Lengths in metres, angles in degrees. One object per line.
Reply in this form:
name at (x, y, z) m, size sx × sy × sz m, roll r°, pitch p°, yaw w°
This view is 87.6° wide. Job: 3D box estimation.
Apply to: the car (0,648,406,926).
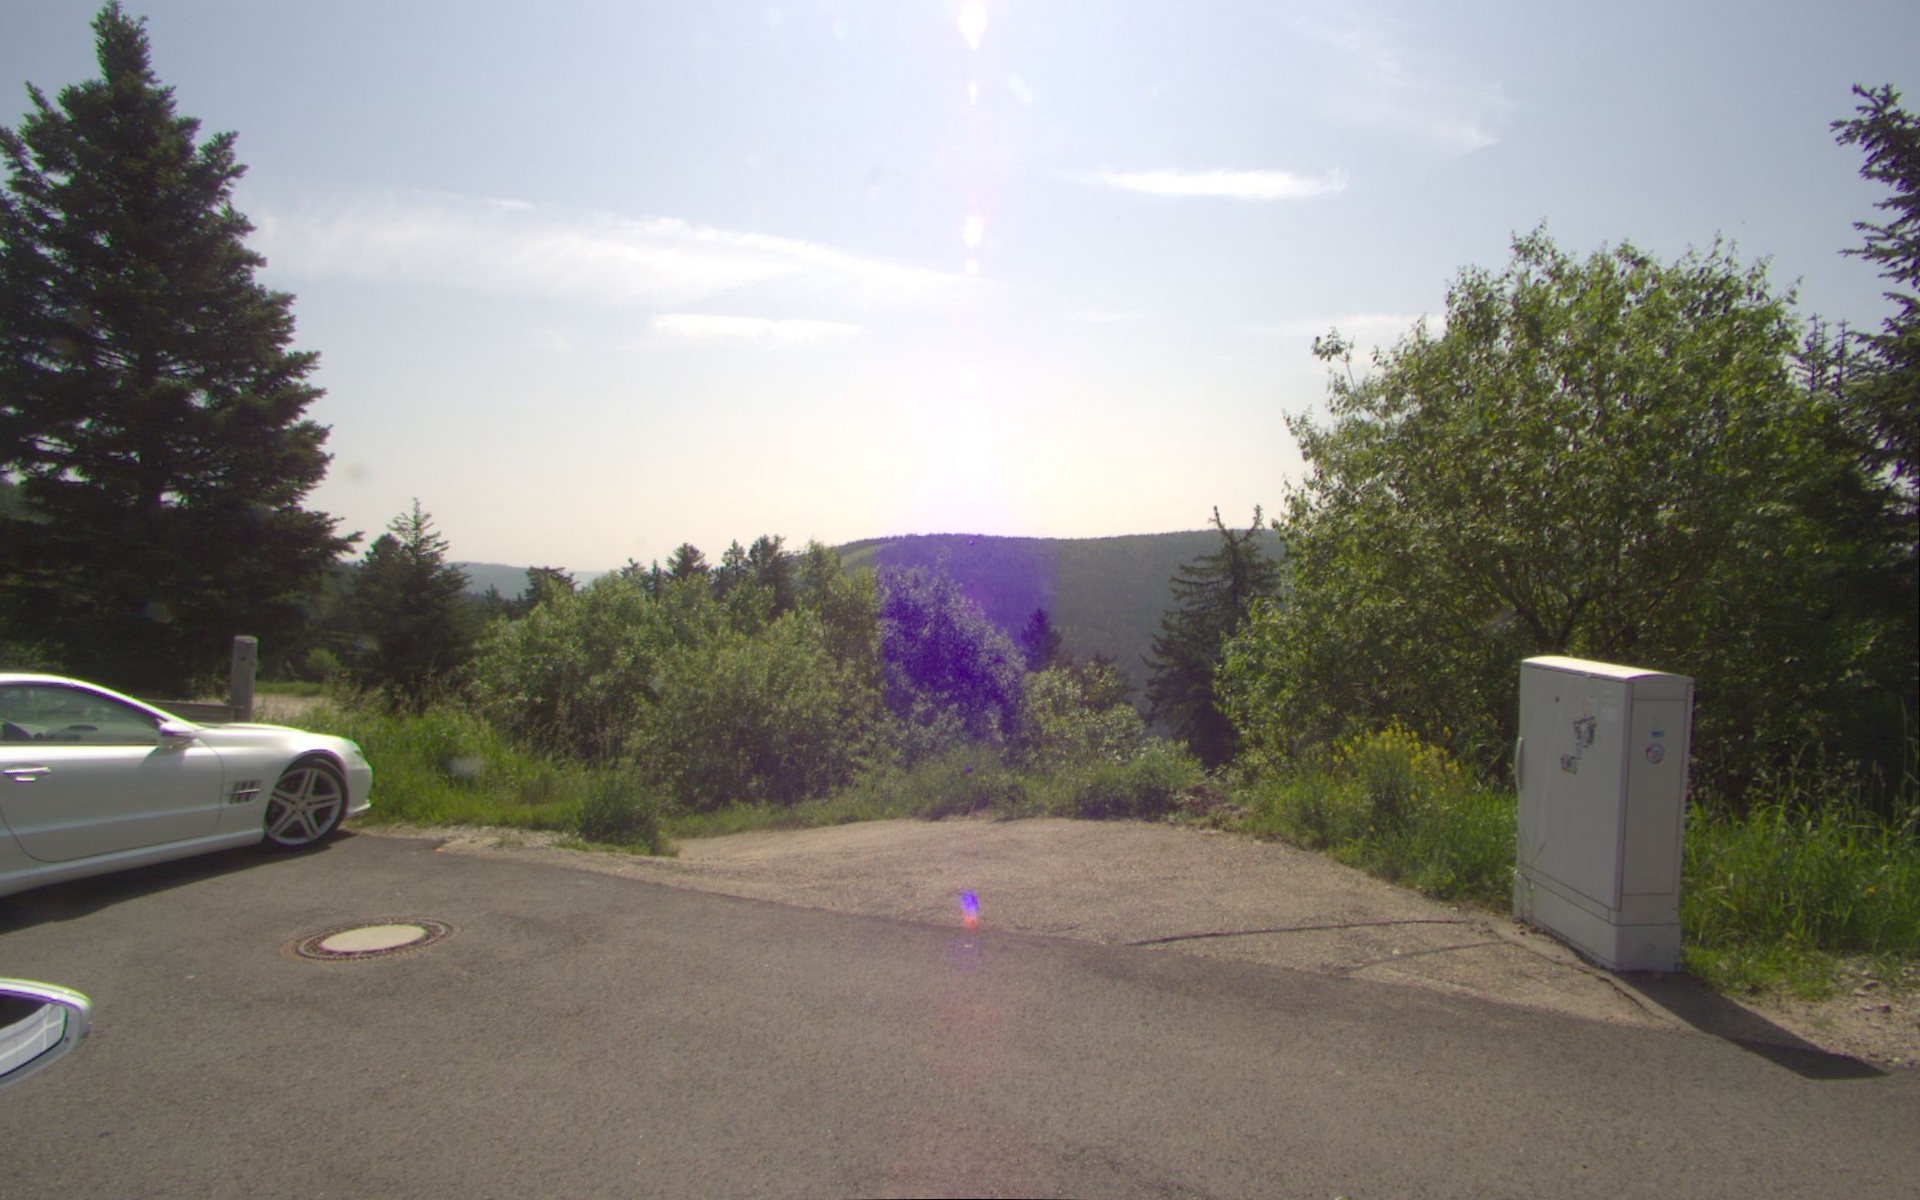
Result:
car at (-5.466, 0.960, 5.692) m, size 1.722 × 1.312 × 4.414 m, roll 1°, pitch -2°, yaw 8°
